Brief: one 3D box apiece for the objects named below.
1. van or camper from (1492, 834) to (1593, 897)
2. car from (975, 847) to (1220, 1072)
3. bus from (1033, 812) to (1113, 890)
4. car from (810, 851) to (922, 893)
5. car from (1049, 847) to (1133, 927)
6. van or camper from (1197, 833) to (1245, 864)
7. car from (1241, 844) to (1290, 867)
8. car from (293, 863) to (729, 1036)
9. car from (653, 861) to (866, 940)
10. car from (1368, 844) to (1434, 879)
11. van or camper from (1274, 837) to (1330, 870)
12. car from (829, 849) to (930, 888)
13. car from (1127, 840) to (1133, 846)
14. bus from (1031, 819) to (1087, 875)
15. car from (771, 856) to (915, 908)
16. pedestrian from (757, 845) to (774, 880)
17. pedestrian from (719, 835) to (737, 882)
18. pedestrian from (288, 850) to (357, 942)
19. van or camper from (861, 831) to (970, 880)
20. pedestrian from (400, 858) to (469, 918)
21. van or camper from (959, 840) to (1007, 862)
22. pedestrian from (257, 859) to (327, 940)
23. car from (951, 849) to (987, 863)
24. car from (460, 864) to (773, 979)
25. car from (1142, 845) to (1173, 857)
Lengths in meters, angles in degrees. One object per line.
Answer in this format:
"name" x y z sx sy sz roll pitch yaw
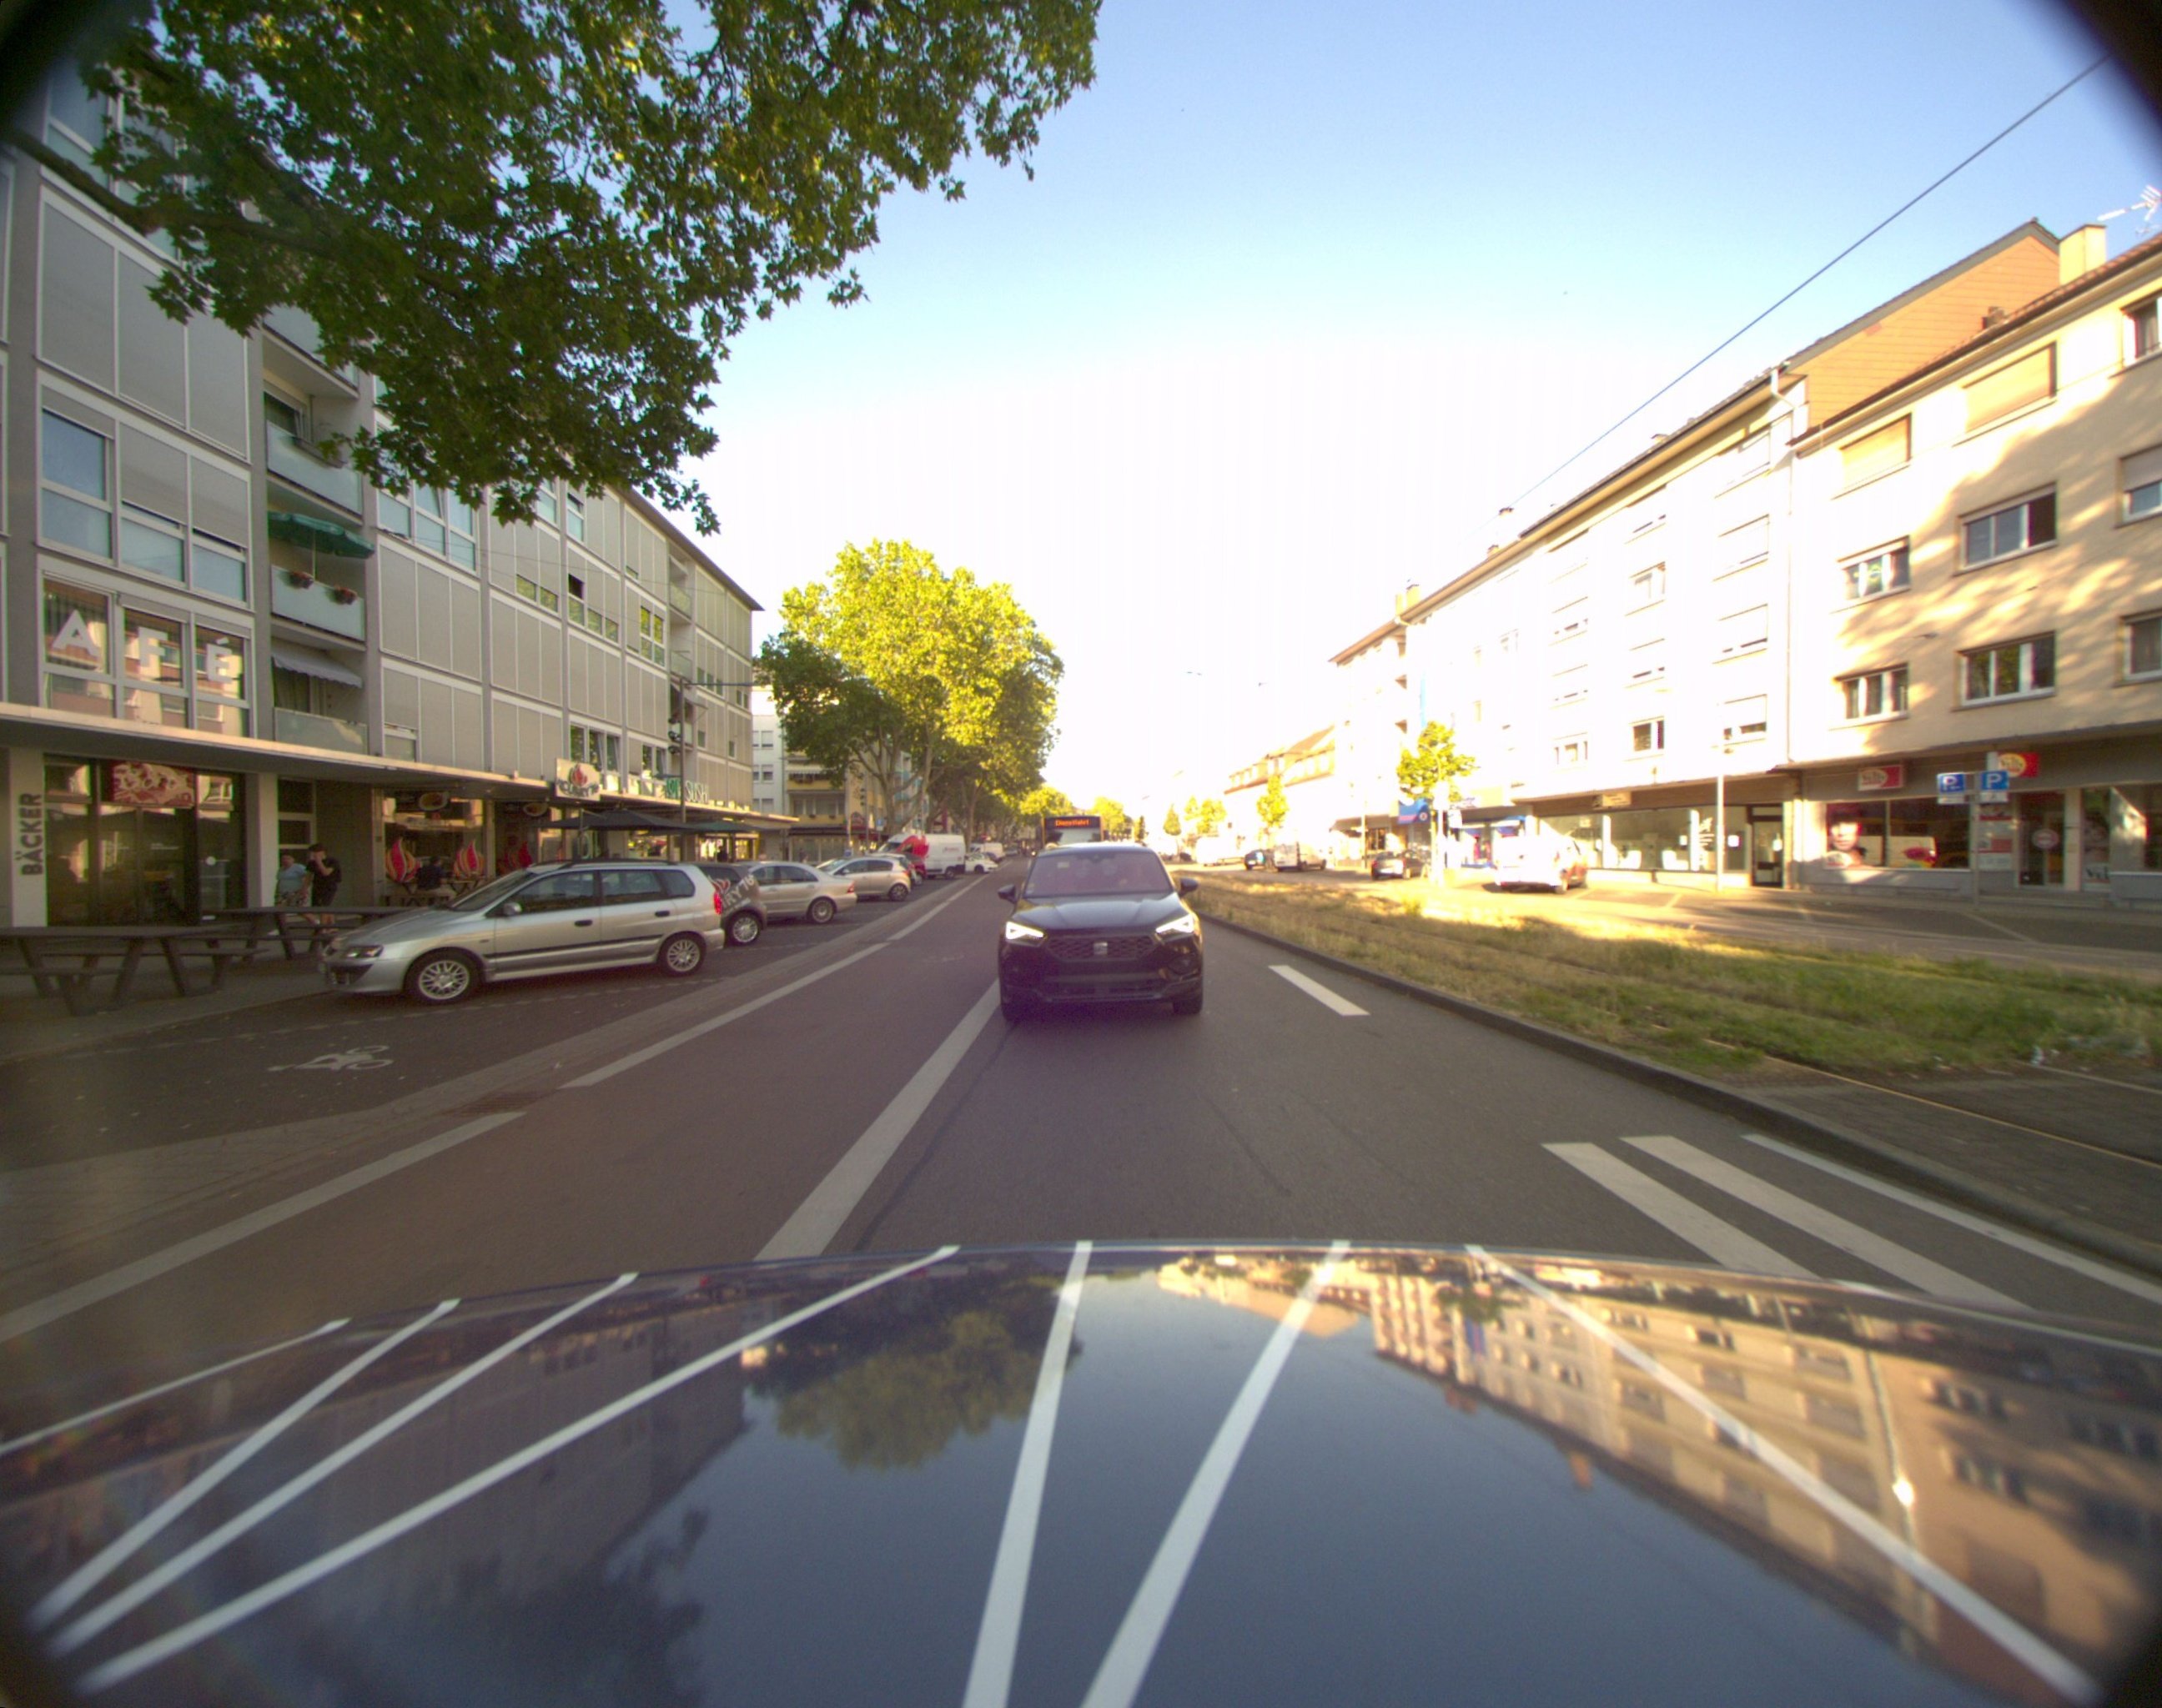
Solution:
"van or camper" 16.011 0.348 26.244 1.946 1.887 4.824 -2 1 44
"car" 0.164 0.796 7.813 1.808 1.638 4.000 -3 1 1
"bus" -0.682 -0.285 36.048 2.873 2.962 12.231 -3 2 -4
"car" -8.589 0.683 30.499 4.008 1.514 1.655 -1 2 -44
"car" 0.199 0.646 17.268 1.658 1.572 3.999 0 1 0
"van or camper" 13.328 -0.586 71.922 1.995 2.652 6.410 -2 1 34
"car" 14.099 0.114 58.012 1.874 1.577 4.007 -2 1 43
"car" -6.824 0.953 9.492 1.804 1.597 4.008 0 1 39
"car" -6.994 0.920 16.838 1.654 1.428 4.008 2 2 43
"car" 15.865 0.346 37.575 1.765 1.482 4.459 -2 1 40
"van or camper" 14.896 -0.061 51.146 1.795 1.978 4.460 -2 1 42
"car" -8.877 0.598 33.695 4.008 1.555 1.655 -1 2 -44
"car" 16.221 -3.721 251.332 1.869 1.832 3.826 -1 1 2
"bus" -1.601 -0.574 48.171 2.873 2.962 12.231 -3 2 -4
"car" -7.443 0.812 23.985 4.008 1.428 1.655 -1 2 -44
"pedestrian" -14.719 0.392 35.472 0.538 1.582 0.687 2 1 -4
"pedestrian" -15.450 0.199 33.249 0.552 2.002 0.576 -3 1 -18
"pedestrian" -13.462 0.725 13.500 0.538 1.582 0.687 2 1 -4
"van or camper" -8.854 0.033 41.094 5.474 2.455 1.994 -1 1 -44
"pedestrian" -15.023 0.776 17.675 0.750 1.354 0.962 0 1 1
"van or camper" -11.319 -0.417 88.264 1.994 2.455 5.474 0 1 44
"pedestrian" -14.055 0.800 13.554 0.538 1.392 0.687 2 1 -4
"car" -11.401 0.216 77.161 3.337 1.339 1.526 -1 2 -44
"car" -7.465 0.955 12.552 1.804 1.498 4.008 0 1 39
"car" 10.775 -0.362 106.572 3.921 1.482 1.766 -3 1 -27
